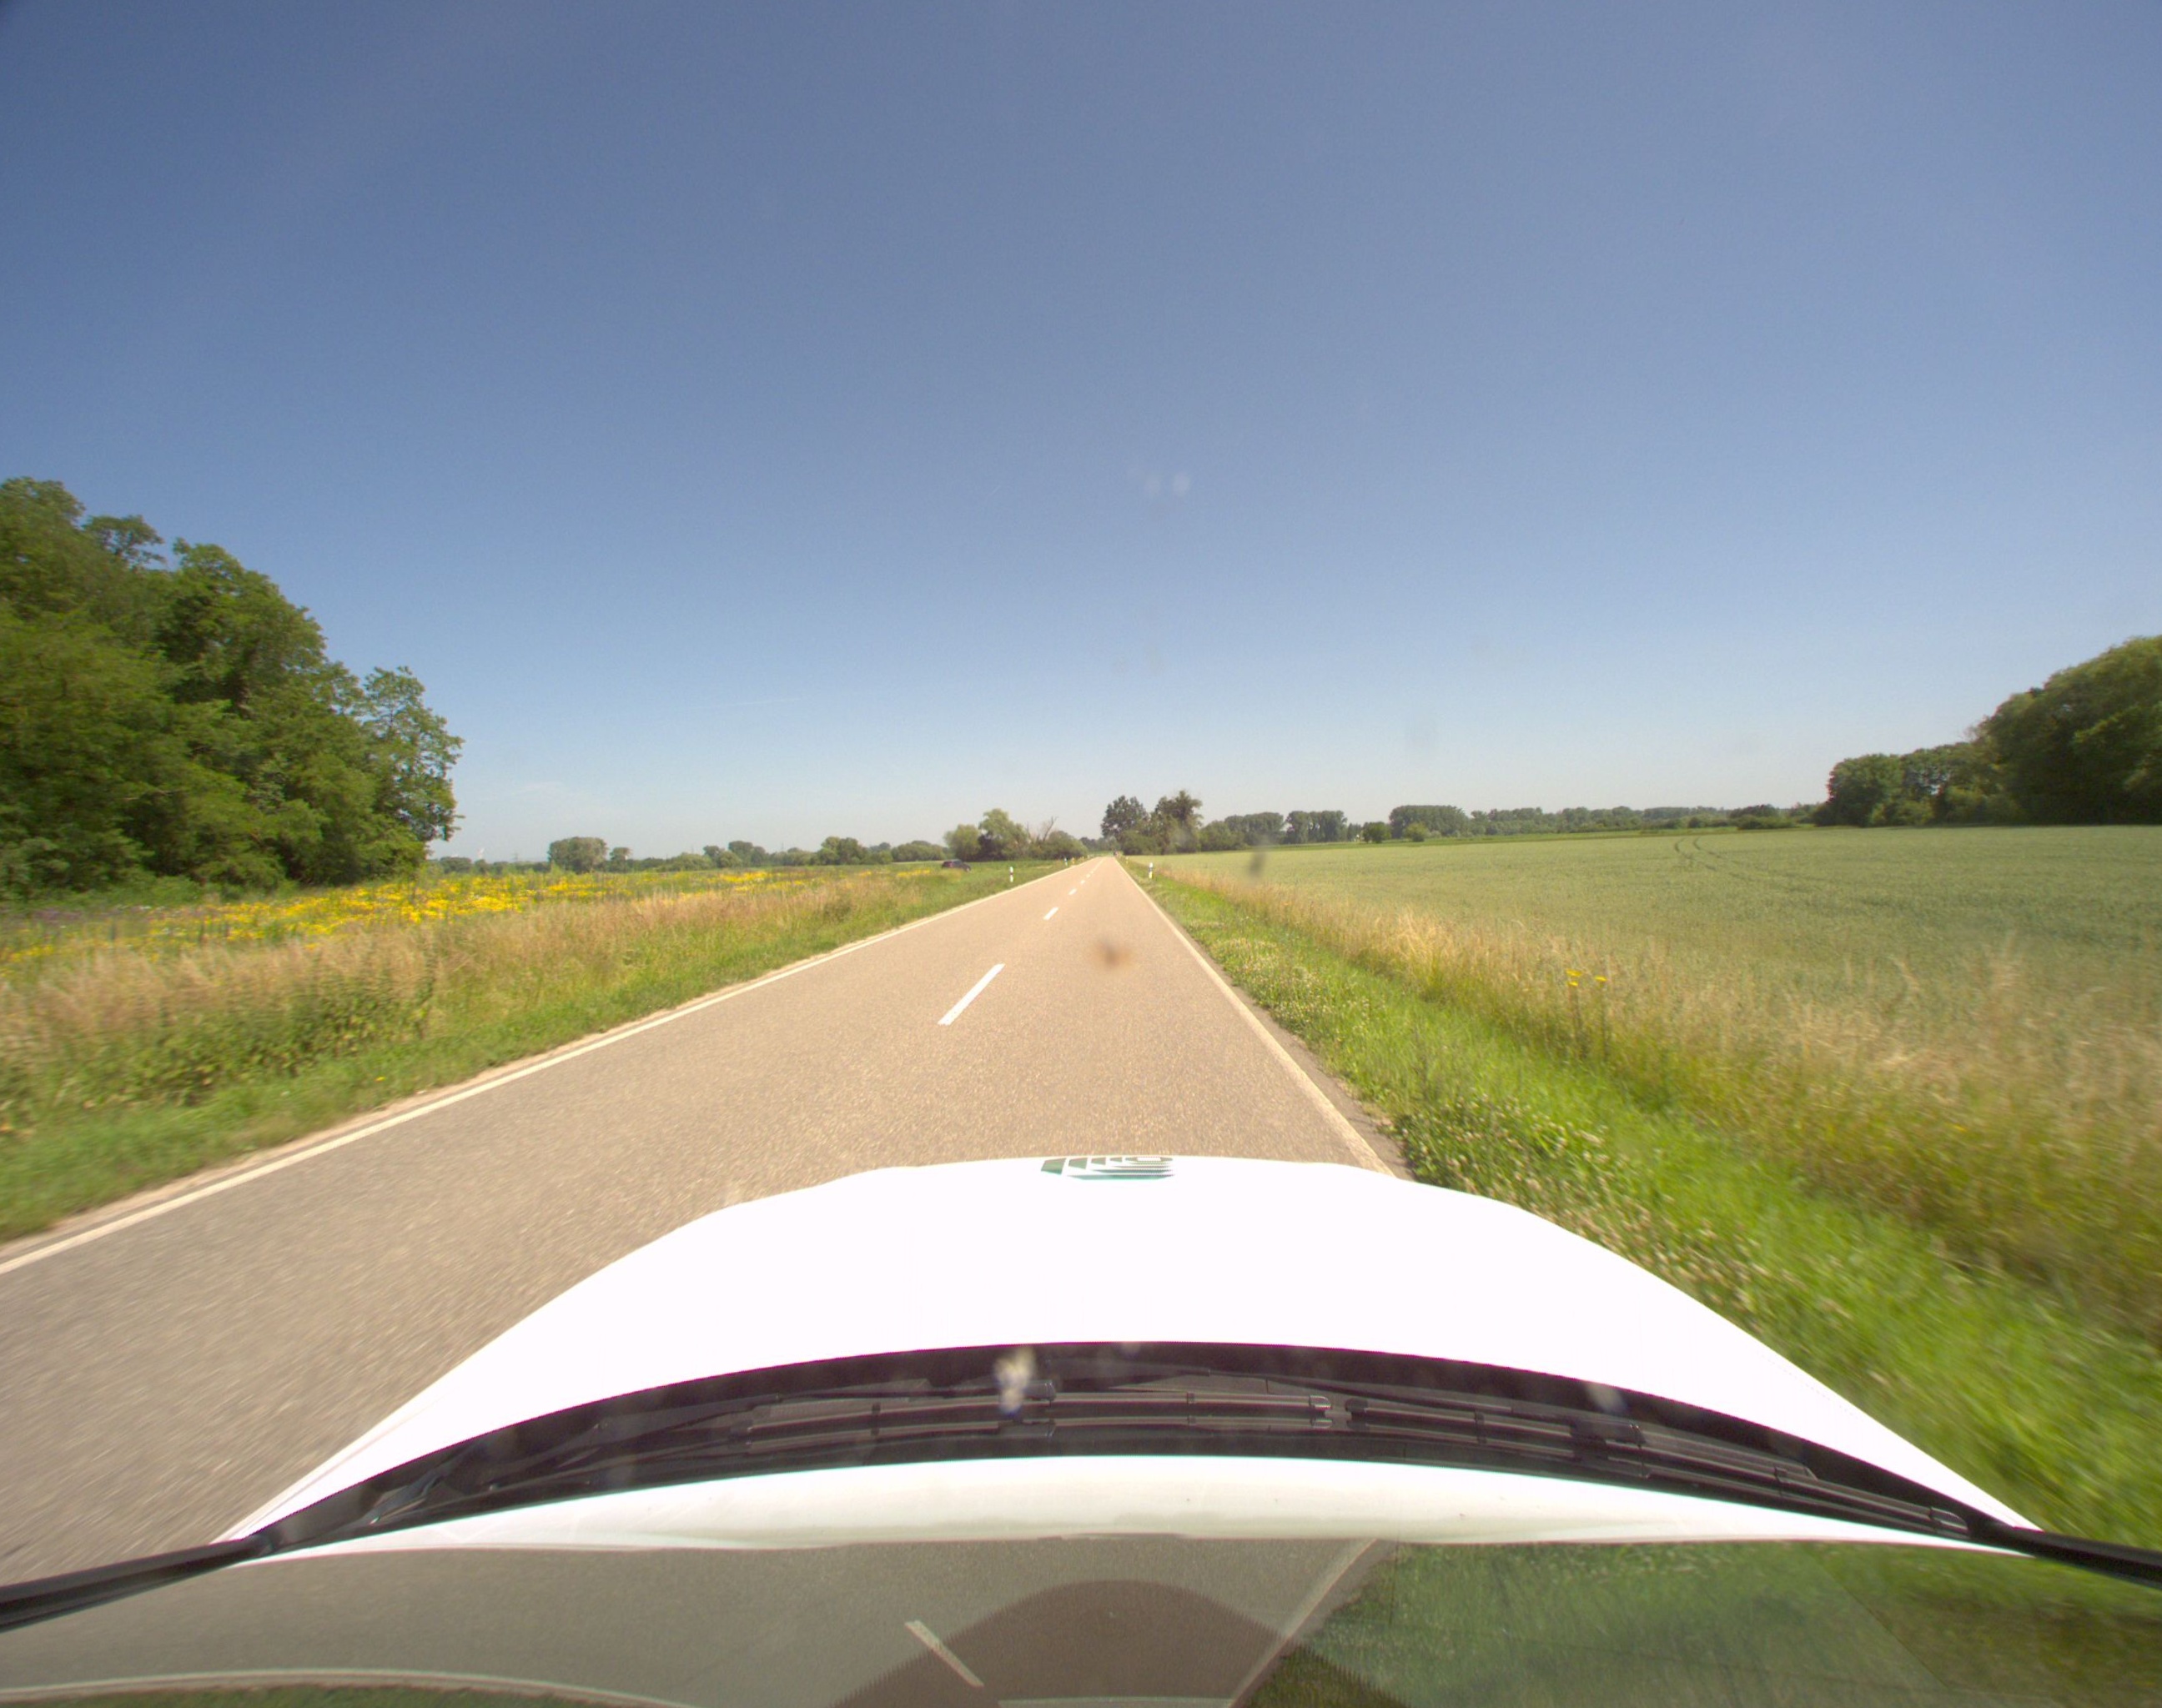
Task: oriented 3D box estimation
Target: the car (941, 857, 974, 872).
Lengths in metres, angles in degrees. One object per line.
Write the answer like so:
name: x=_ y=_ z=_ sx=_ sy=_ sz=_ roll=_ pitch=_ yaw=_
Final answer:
car: x=-15.525 y=1.315 z=102.655 sx=1.736 sy=1.651 sz=4.557 roll=-2 pitch=0 yaw=28
